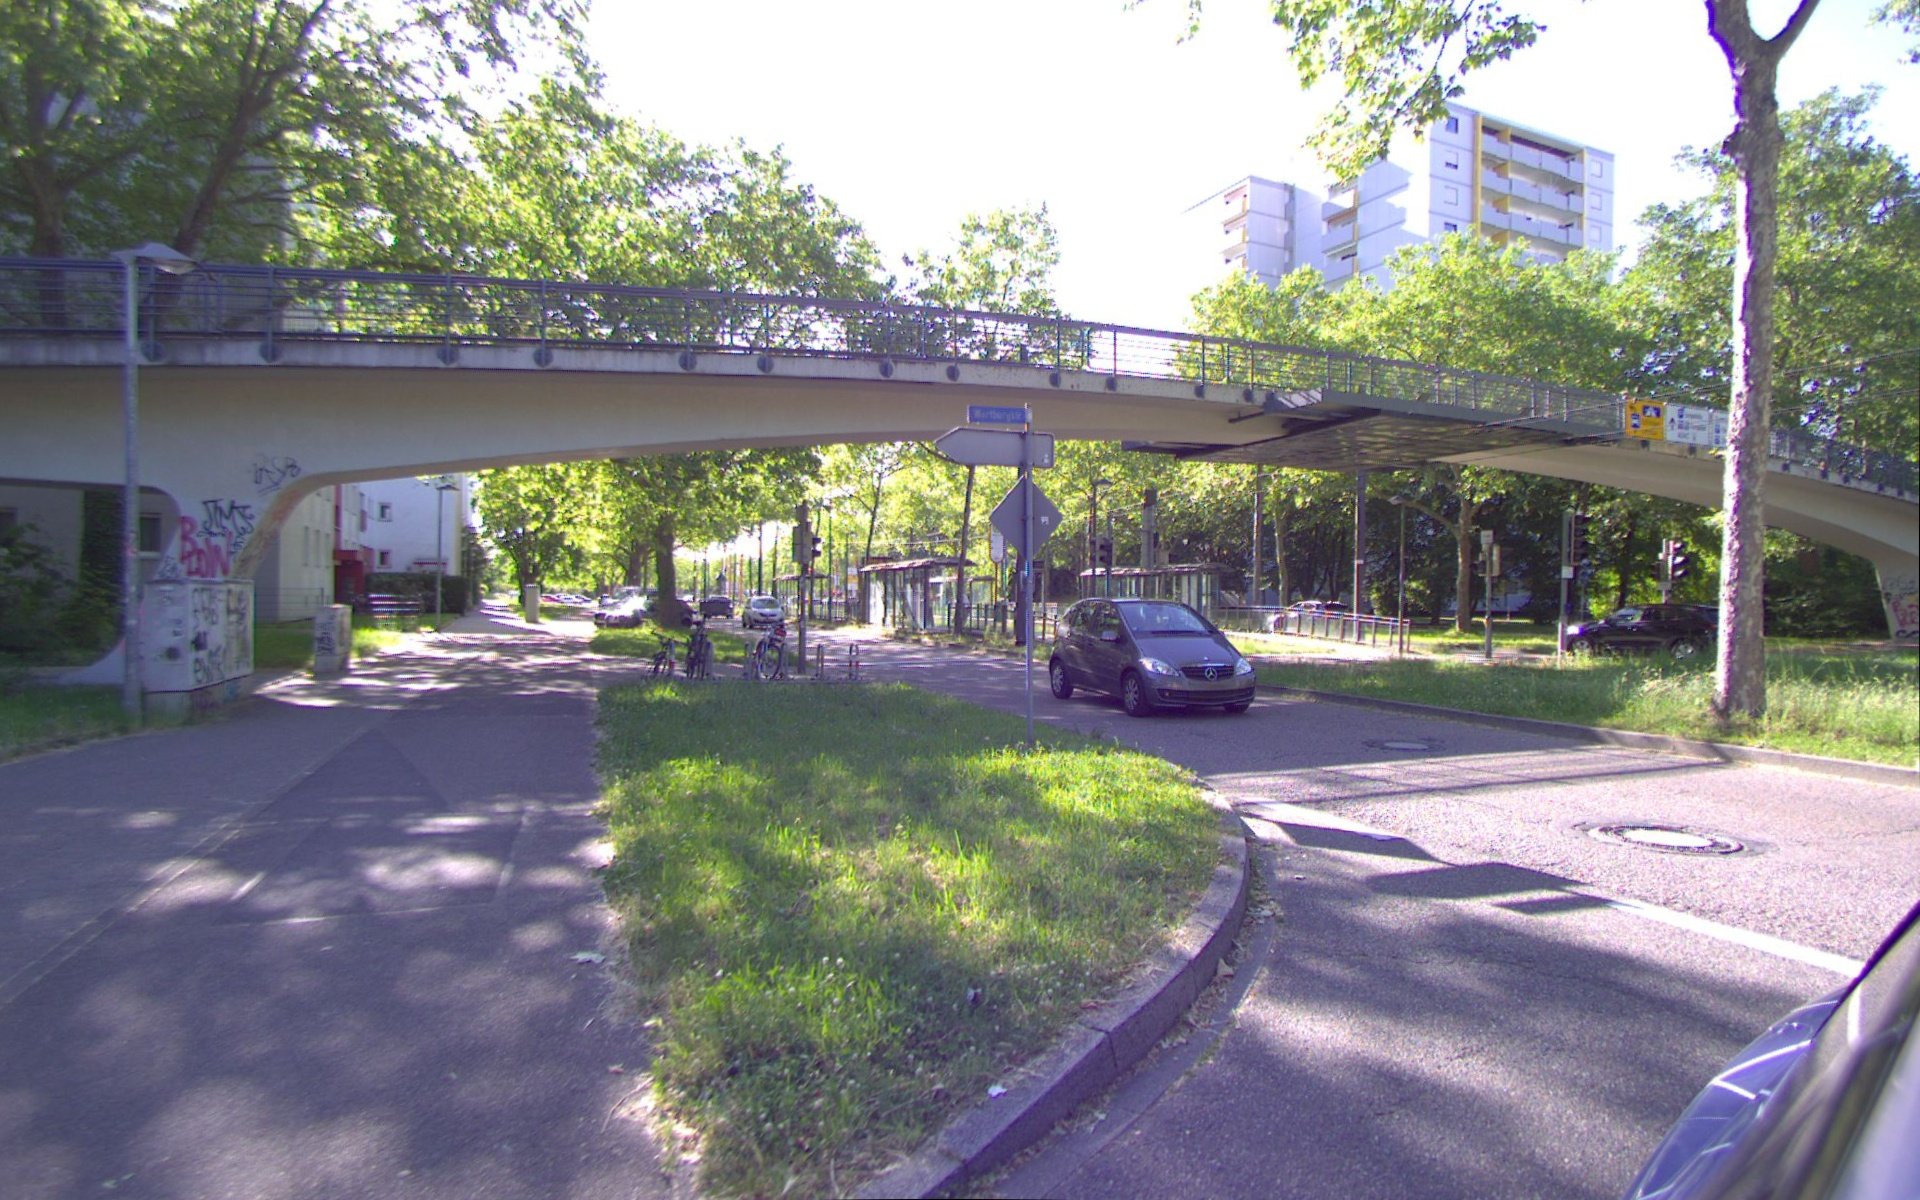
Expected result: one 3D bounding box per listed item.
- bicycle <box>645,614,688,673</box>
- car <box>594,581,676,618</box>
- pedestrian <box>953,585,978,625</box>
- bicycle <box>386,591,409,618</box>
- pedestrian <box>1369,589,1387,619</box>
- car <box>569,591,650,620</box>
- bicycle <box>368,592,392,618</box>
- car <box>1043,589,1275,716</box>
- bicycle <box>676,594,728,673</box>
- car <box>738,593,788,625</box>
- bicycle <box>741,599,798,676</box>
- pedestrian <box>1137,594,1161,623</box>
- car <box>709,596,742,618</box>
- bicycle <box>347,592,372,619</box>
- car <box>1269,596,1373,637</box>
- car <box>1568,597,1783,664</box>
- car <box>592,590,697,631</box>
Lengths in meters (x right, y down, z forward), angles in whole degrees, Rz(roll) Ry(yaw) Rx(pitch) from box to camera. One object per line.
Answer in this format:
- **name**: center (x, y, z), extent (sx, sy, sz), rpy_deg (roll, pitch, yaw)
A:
- **bicycle**: center (-4.598, 0.661, 15.819), extent (0.496, 0.863, 1.476), rpy_deg (4, -2, -20)
- **car**: center (-19.761, 0.008, 61.718), extent (2.001, 2.079, 4.539), rpy_deg (2, -1, 30)
- **pedestrian**: center (0.196, 0.174, 37.125), extent (0.711, 1.435, 0.683), rpy_deg (-1, 0, -20)
- **bicycle**: center (-24.256, 0.195, 43.672), extent (0.579, 1.121, 1.804), rpy_deg (0, 0, -20)
- **pedestrian**: center (23.308, 0.215, 56.450), extent (0.636, 1.682, 0.651), rpy_deg (0, 0, -18)
- **car**: center (-18.629, 0.306, 53.896), extent (1.783, 1.435, 3.885), rpy_deg (2, -1, 27)
- **bicycle**: center (-24.896, 0.204, 43.466), extent (0.579, 1.121, 1.804), rpy_deg (0, 0, -20)
- **car**: center (2.760, 0.661, 14.923), extent (1.762, 1.610, 3.771), rpy_deg (-1, 0, -17)
- **bicycle**: center (-4.206, 0.526, 16.420), extent (0.579, 1.198, 1.803), rpy_deg (4, -2, -20)
- **car**: center (-10.069, 0.441, 51.520), extent (1.762, 1.558, 4.008), rpy_deg (1, -1, -21)
- **bicycle**: center (-3.190, 0.599, 16.853), extent (0.579, 1.198, 1.803), rpy_deg (4, -2, -20)
- **pedestrian**: center (8.255, 0.365, 44.281), extent (0.764, 1.253, 0.723), rpy_deg (0, 0, -21)
- **car**: center (-17.088, 0.506, 73.723), extent (1.762, 1.529, 4.008), rpy_deg (-1, 0, -21)
- **bicycle**: center (-25.641, 0.219, 43.247), extent (0.579, 1.121, 1.804), rpy_deg (0, 0, -20)
- **car**: center (15.011, 0.654, 42.315), extent (1.762, 1.586, 4.296), rpy_deg (0, 0, -20)
- **car**: center (18.548, 0.724, 26.474), extent (1.763, 1.586, 4.295), rpy_deg (0, 0, -25)
- **car**: center (-12.579, 0.440, 40.572), extent (1.782, 1.480, 3.963), rpy_deg (2, -1, 26)
